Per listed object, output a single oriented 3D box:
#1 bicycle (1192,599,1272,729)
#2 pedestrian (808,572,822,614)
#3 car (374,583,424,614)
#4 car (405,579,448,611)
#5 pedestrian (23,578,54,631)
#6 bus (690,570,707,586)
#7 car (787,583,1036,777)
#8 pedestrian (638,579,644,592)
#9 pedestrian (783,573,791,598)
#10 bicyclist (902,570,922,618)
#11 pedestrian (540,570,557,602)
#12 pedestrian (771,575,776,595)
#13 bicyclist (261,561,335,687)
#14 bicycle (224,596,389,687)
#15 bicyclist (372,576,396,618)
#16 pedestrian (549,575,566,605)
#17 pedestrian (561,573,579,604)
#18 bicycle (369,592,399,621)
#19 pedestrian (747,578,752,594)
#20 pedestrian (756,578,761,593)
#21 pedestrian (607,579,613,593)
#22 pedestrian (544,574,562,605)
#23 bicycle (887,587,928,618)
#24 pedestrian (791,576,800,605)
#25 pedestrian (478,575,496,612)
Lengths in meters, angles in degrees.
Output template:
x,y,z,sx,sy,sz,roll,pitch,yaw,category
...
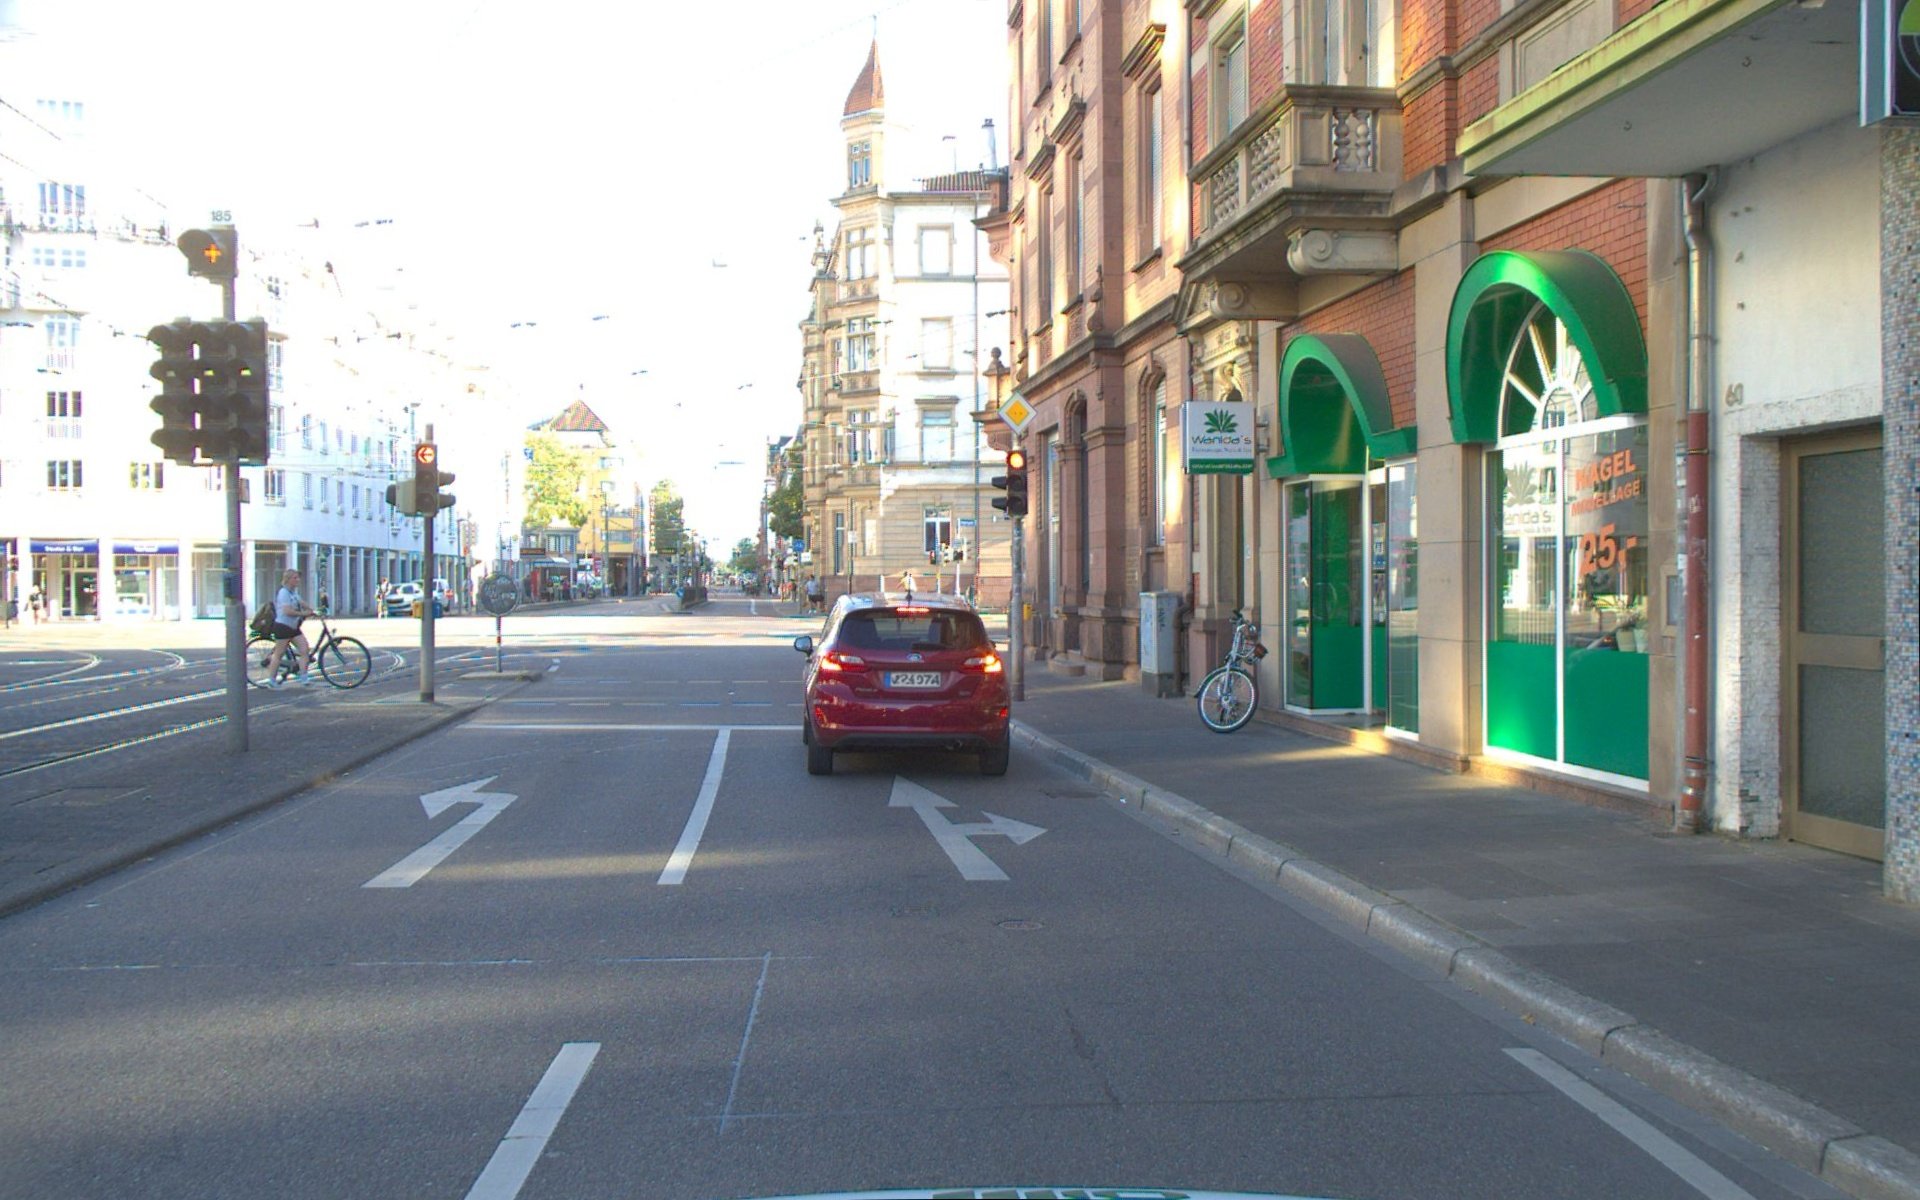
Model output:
x,y,z,sx,sy,sz,roll,pitch,yaw,category
2.732,0.610,16.508,0.700,1.172,1.656,-2,1,11,bicycle
-7.167,-0.335,81.776,0.639,2.049,0.758,-1,0,-8,pedestrian
-29.209,-0.105,86.197,1.732,1.573,3.456,-1,1,-7,car
-30.188,-0.294,93.677,1.669,1.748,3.558,-1,1,-8,car
-36.035,0.172,64.667,0.936,2.049,0.929,-1,1,-35,pedestrian
-35.284,-2.963,223.527,1.888,2.049,7.128,-1,1,-6,bus
-0.569,0.604,14.798,1.722,1.492,3.937,1,0,-9,car
-39.137,-1.800,202.834,0.620,1.632,0.575,-1,0,-24,pedestrian
-13.924,-1.155,132.964,0.565,2.049,0.630,-1,0,-2,pedestrian
-1.721,-0.220,59.311,0.535,1.705,0.499,0,1,38,bicyclist
-26.785,-0.890,107.660,0.938,2.049,1.047,-1,0,-8,pedestrian
-19.808,-1.586,175.700,0.566,2.049,0.630,-1,0,-7,pedestrian
-8.843,0.316,22.121,0.715,1.655,0.765,0,0,-4,bicyclist
-8.881,0.552,22.525,1.978,1.198,0.628,0,0,-5,bicycle
-24.649,-0.122,70.835,0.792,1.756,0.793,-1,0,-8,bicyclist
-27.680,-0.708,113.849,1.026,2.049,0.957,-1,0,-10,pedestrian
-25.936,-0.760,109.983,1.026,2.049,0.957,-1,0,-10,pedestrian
-24.635,0.264,70.722,0.792,1.167,2.046,-1,1,-8,bicycle
-26.859,-1.792,211.214,0.566,1.920,0.668,-1,0,-7,pedestrian
-25.294,-1.819,207.668,0.566,1.920,0.630,-1,0,-7,pedestrian
-37.193,-1.523,175.772,0.514,1.514,0.582,-1,0,-6,pedestrian
-27.537,-0.727,111.917,1.026,2.049,0.957,-1,0,-10,pedestrian
-1.893,0.079,59.463,1.458,1.108,0.525,0,1,39,bicycle
-11.865,-0.679,119.356,0.634,2.049,0.682,0,0,-8,pedestrian
-22.880,-0.314,79.977,0.753,1.761,0.572,0,0,-6,pedestrian
